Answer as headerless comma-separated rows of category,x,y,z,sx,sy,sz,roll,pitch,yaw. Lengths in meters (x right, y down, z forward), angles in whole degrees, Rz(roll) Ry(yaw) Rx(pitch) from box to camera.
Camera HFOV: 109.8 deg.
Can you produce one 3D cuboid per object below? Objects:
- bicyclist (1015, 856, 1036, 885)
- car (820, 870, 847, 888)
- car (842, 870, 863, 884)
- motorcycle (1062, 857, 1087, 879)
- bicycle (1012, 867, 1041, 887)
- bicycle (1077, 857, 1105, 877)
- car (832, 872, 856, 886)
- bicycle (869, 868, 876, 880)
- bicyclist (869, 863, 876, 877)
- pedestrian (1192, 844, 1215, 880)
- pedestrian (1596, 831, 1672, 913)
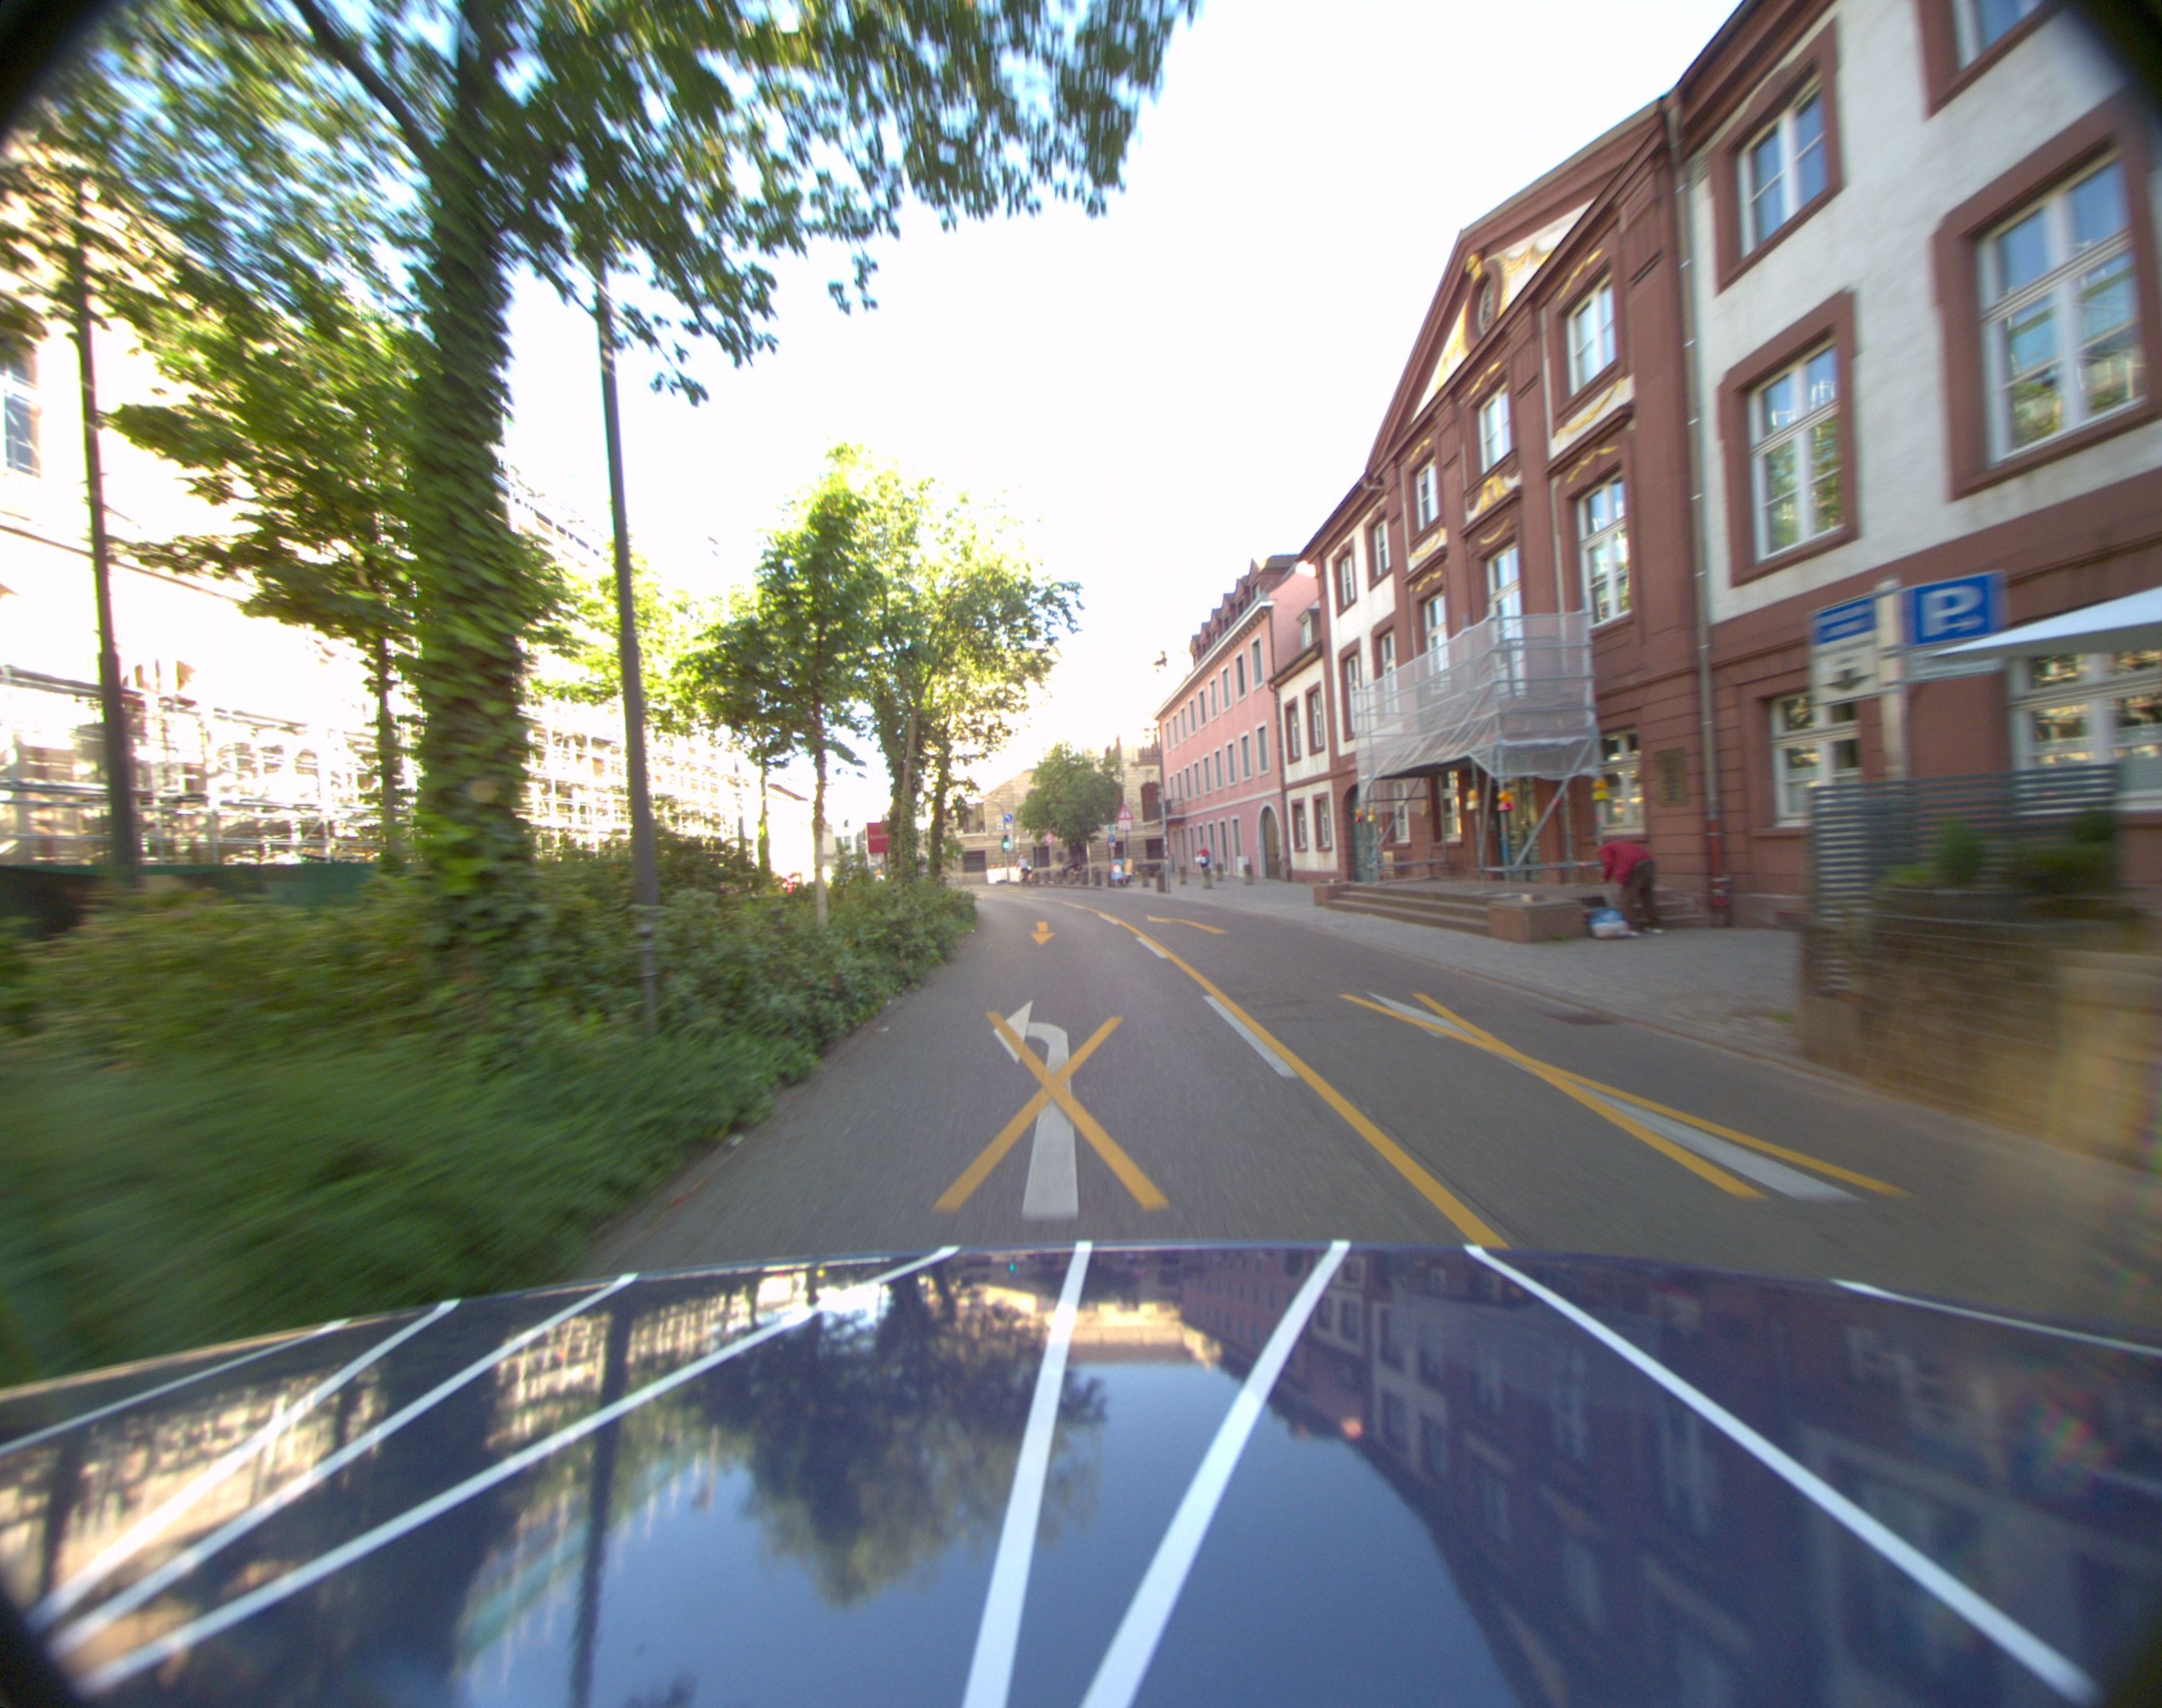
bicyclist,-3.150,0.951,43.148,0.747,1.574,0.793,-5,1,-30
car,-26.275,2.631,80.802,1.900,1.614,4.618,-5,0,-9
car,-27.968,2.808,93.066,1.702,1.462,4.787,-5,0,-10
motorcycle,-0.400,0.889,47.202,0.815,1.309,2.334,-4,0,-17
bicycle,-3.108,1.288,43.138,0.775,1.056,2.073,-4,0,-31
bicycle,0.660,0.848,49.306,0.681,1.199,2.009,-1,1,40
car,-27.169,2.800,87.257,1.702,1.336,4.595,-5,0,-7
bicycle,-20.637,1.962,75.181,0.535,1.060,1.424,-5,0,-12
bicyclist,-20.664,1.577,75.175,0.538,1.281,0.551,-5,1,-12
pedestrian,5.982,0.391,37.258,0.793,1.679,0.868,-5,1,-4
pedestrian,7.477,0.235,10.291,0.538,1.047,0.551,-5,1,-5
